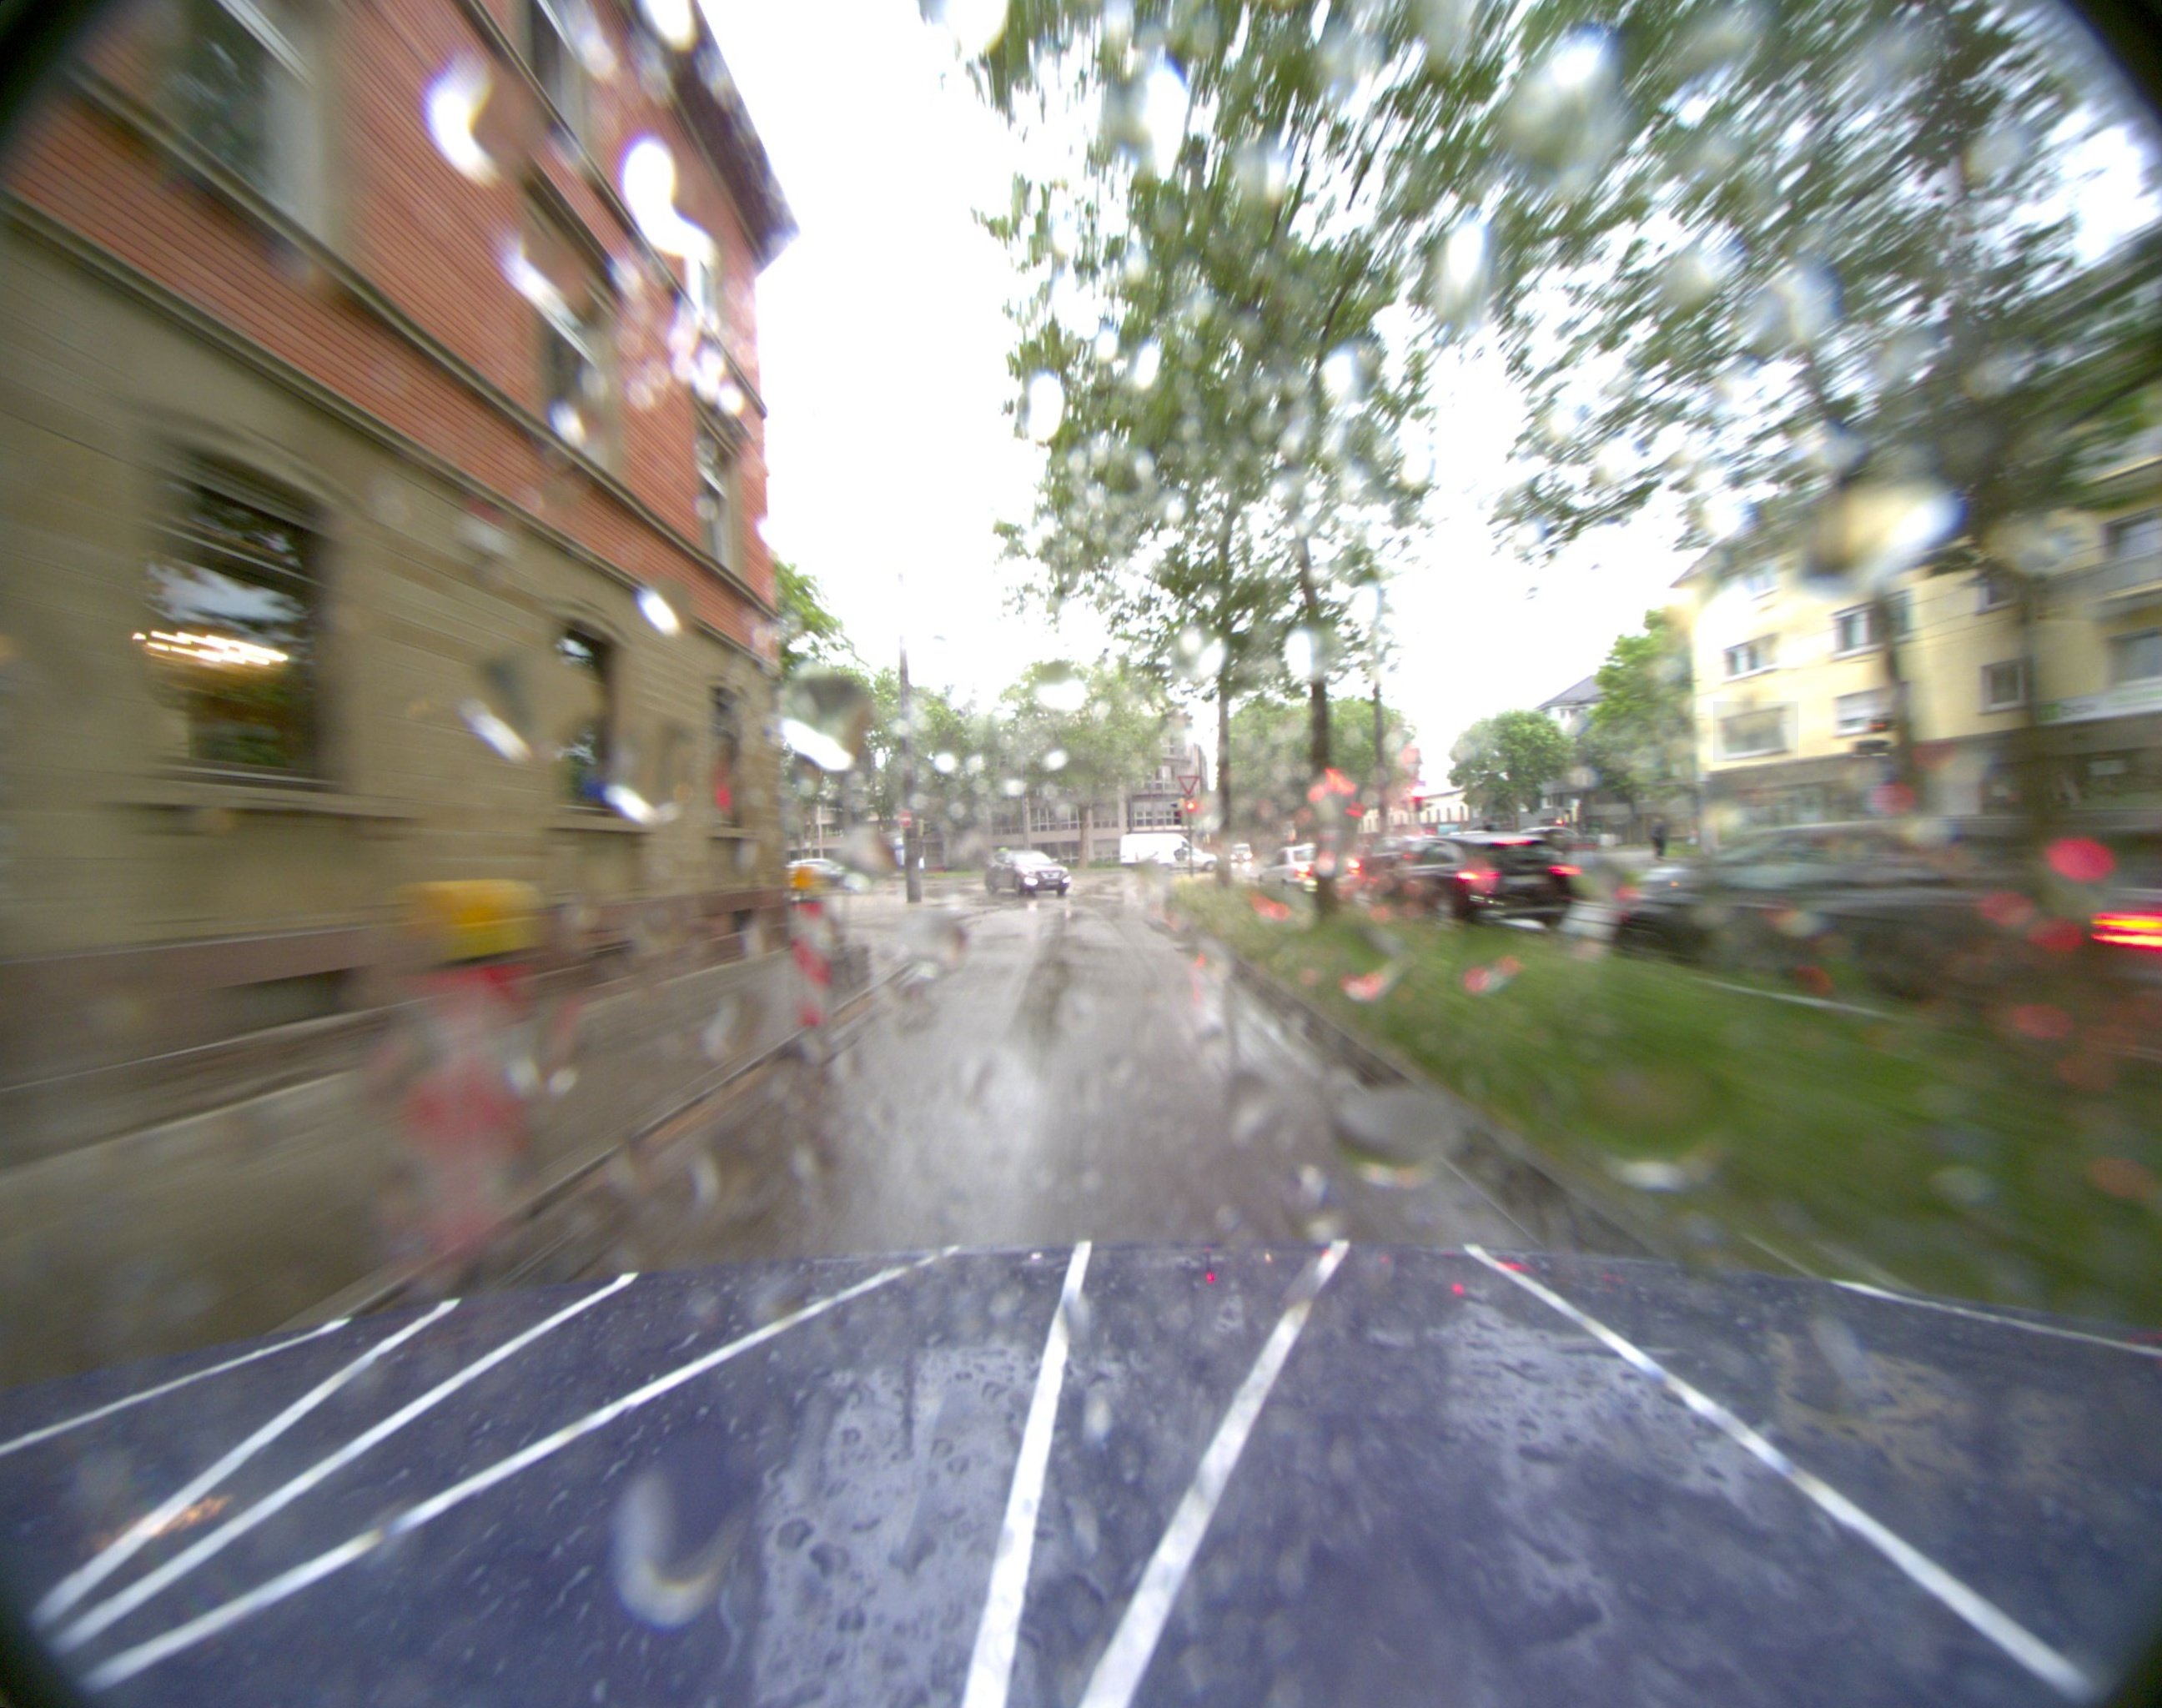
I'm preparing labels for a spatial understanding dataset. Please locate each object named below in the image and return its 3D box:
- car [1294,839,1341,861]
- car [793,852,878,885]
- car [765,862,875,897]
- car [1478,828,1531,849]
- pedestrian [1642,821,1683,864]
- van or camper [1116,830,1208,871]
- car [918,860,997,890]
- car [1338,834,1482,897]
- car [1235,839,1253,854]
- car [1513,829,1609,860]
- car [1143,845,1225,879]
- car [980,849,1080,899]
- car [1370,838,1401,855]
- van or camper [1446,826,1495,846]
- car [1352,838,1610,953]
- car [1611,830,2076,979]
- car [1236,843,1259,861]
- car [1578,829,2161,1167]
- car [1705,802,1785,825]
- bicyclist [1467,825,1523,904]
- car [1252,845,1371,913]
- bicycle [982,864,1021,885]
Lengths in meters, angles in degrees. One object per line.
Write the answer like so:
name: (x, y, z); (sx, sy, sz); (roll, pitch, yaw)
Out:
car: (19.614, -0.330, 62.941); (4.081, 1.578, 1.802); (-4, 1, -42)
car: (-14.414, 0.823, 44.856); (4.558, 1.650, 1.785); (-3, 2, -14)
car: (-14.075, 1.348, 41.234); (5.337, 1.583, 1.947); (-3, 0, -11)
car: (43.610, -1.583, 78.280); (4.389, 2.002, 2.069); (-2, 2, 17)
pedestrian: (23.272, -0.453, 30.411); (1.015, 1.668, 0.815); (-2, 1, 13)
van or camper: (5.598, -0.268, 52.299); (5.978, 2.457, 2.177); (-3, 1, -28)
car: (-7.539, 1.271, 46.342); (4.558, 1.505, 1.785); (-3, 2, -14)
car: (8.938, 0.296, 21.101); (1.879, 1.493, 4.282); (-3, 0, -4)
car: (19.301, -0.902, 89.827); (2.001, 1.761, 4.003); (-2, 1, 13)
car: (29.242, -0.613, 46.367); (4.678, 1.637, 1.913); (-3, 2, -4)
car: (5.971, 0.428, 44.345); (4.267, 1.732, 1.975); (-3, 2, -9)
car: (-2.045, 0.688, 28.860); (1.917, 1.637, 4.669); (-4, 2, -29)
car: (30.787, -0.768, 76.811); (1.807, 1.528, 4.198); (-2, 1, 37)
van or camper: (44.253, -2.059, 86.418); (4.647, 2.063, 2.001); (-1, 1, 10)
car: (6.287, 0.560, 12.677); (1.861, 1.476, 4.640); (-3, 0, 1)
car: (9.007, 0.499, 9.607); (1.745, 1.389, 4.130); (-3, 0, 1)
car: (18.241, -0.268, 83.160); (1.800, 1.761, 4.005); (-4, 0, 20)
car: (5.751, 0.631, 5.252); (1.745, 1.471, 4.432); (-3, 0, 1)
car: (45.224, -2.745, 51.868); (3.821, 1.451, 1.892); (1, 1, 30)
bicyclist: (9.332, 0.229, 17.151); (0.714, 1.706, 0.889); (-3, 2, -2)
car: (5.846, 0.571, 19.850); (1.739, 1.480, 4.500); (-3, 0, 1)
bicycle: (-4.246, 1.080, 40.611); (1.998, 1.082, 0.818); (1, 2, -9)
